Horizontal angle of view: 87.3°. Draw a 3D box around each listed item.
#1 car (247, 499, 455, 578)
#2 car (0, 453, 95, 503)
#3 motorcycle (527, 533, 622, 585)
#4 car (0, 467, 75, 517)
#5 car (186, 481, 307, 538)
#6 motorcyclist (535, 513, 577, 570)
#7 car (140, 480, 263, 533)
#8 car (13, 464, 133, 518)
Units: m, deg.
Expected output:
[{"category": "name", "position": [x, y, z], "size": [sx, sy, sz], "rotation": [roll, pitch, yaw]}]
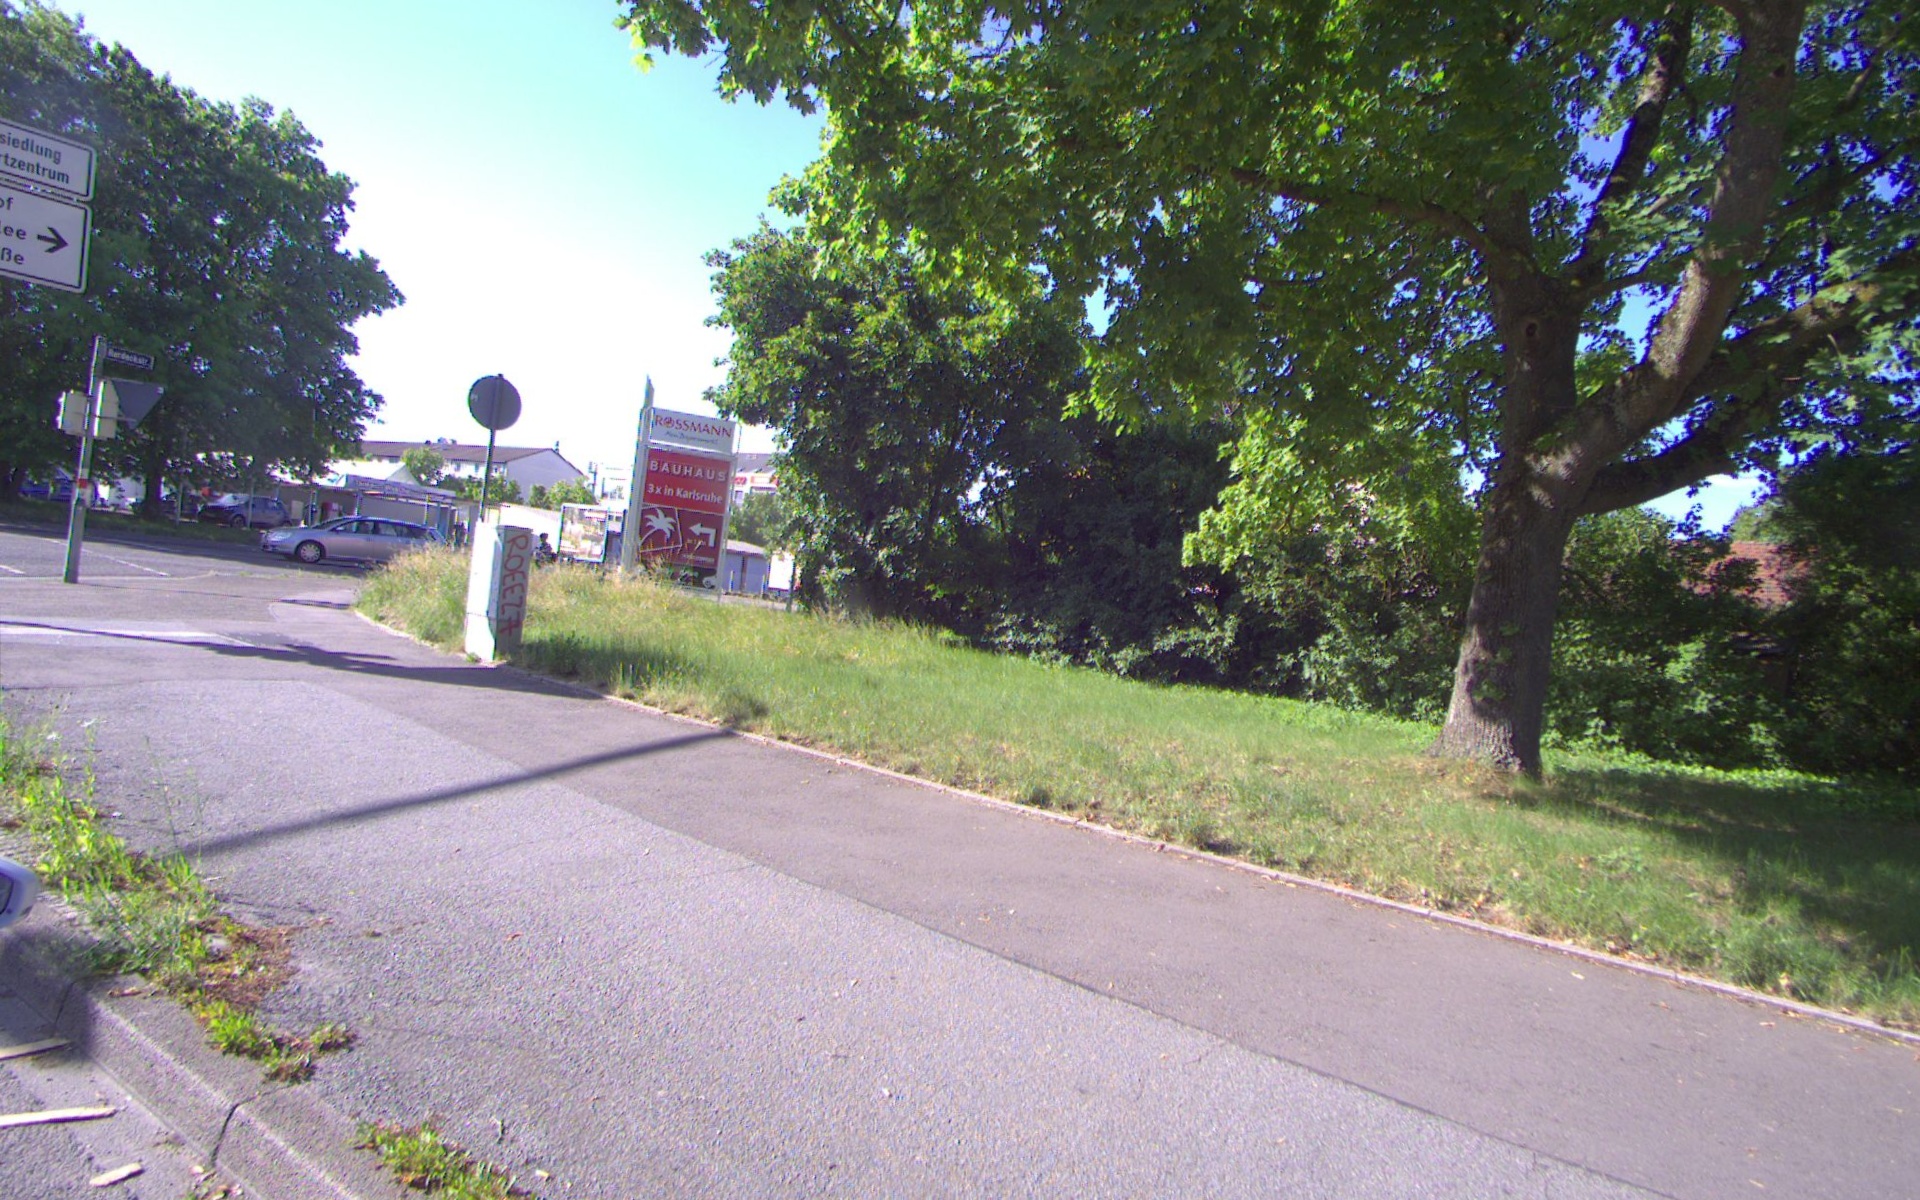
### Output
[{"category": "car", "position": [-17.199, -1.711, 28.584], "size": [1.973, 1.593, 4.609], "rotation": [6, -1, 43]}, {"category": "car", "position": [-45.616, -6.054, 49.832], "size": [1.675, 1.704, 3.722], "rotation": [7, -3, 29]}, {"category": "motorcycle", "position": [-12.724, -1.333, 33.282], "size": [2.718, 1.285, 0.824], "rotation": [10, -3, -43]}, {"category": "car", "position": [-41.999, -4.910, 44.679], "size": [1.672, 1.704, 3.729], "rotation": [7, -2, 6]}, {"category": "car", "position": [-30.294, -3.797, 42.860], "size": [1.771, 1.630, 3.854], "rotation": [7, -2, 12]}, {"category": "motorcyclist", "position": [-13.164, -1.900, 32.785], "size": [0.858, 1.699, 0.824], "rotation": [9, -2, -42]}, {"category": "car", "position": [-32.350, -3.961, 43.030], "size": [1.771, 1.499, 3.854], "rotation": [7, -2, 12]}, {"category": "car", "position": [-39.320, -4.788, 44.723], "size": [1.772, 1.581, 3.851], "rotation": [8, -2, 0]}]
